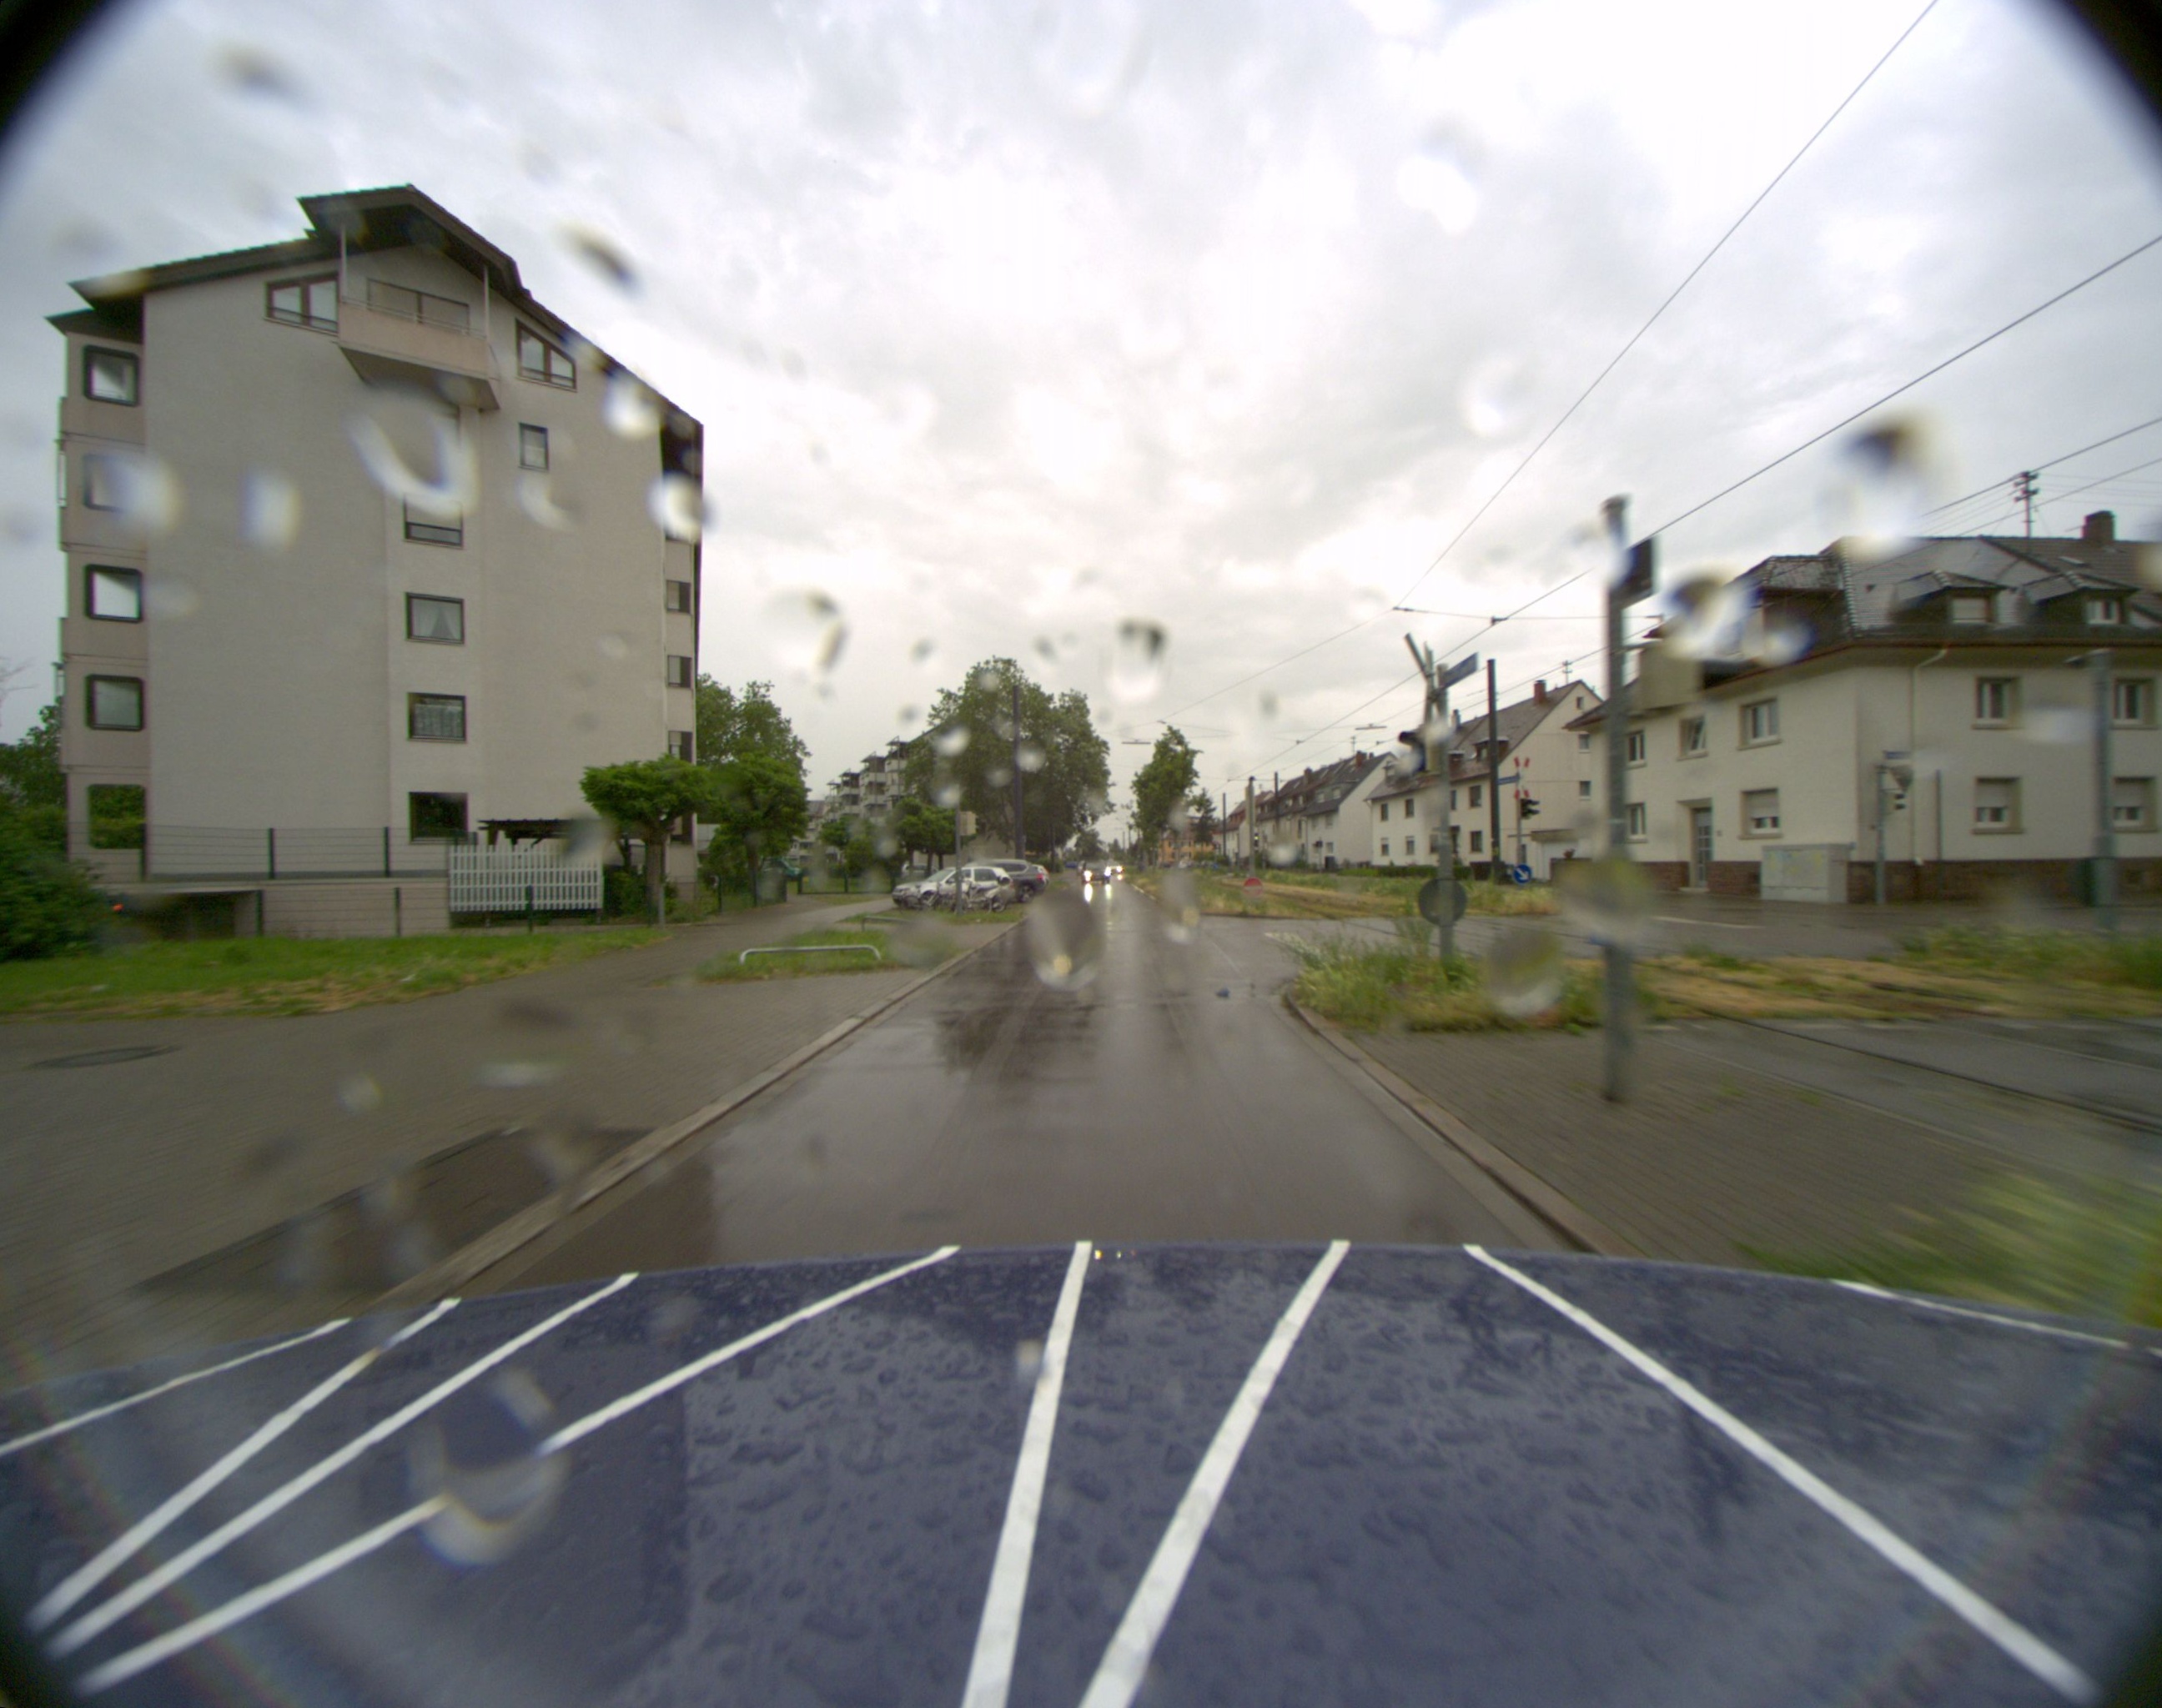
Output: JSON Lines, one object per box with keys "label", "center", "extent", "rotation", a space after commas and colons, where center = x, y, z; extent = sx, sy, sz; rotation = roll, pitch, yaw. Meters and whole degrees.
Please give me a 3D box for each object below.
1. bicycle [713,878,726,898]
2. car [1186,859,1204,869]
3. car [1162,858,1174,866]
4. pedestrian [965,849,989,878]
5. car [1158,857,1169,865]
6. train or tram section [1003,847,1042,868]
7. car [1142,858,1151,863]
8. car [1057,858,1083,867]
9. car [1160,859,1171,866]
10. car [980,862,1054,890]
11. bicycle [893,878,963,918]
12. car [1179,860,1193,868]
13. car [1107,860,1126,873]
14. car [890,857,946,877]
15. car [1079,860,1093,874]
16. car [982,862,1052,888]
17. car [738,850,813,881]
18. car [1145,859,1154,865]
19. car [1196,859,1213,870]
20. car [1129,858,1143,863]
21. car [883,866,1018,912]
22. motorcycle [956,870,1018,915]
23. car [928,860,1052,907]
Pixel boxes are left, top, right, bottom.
{"label": "bicycle", "center": [-16.578, 1.539, 34.821], "extent": [0.491, 0.843, 1.569], "rotation": [0, 0, -24]}
{"label": "car", "center": [17.777, 1.566, 118.647], "extent": [1.891, 1.522, 4.756], "rotation": [0, 0, -1]}
{"label": "car", "center": [18.030, 1.694, 157.543], "extent": [1.912, 1.581, 4.000], "rotation": [0, 0, 0]}
{"label": "pedestrian", "center": [-6.759, 0.612, 49.355], "extent": [1.101, 1.803, 1.435], "rotation": [-1, 0, 12]}
{"label": "car", "center": [18.547, 1.534, 171.127], "extent": [1.998, 1.648, 4.001], "rotation": [-2, 0, 2]}
{"label": "train or tram section", "center": [-9.231, 0.564, 119.114], "extent": [2.763, 3.320, 6.382], "rotation": [0, 0, -44]}
{"label": "car", "center": [17.643, 1.813, 204.103], "extent": [2.096, 1.423, 4.077], "rotation": [0, 0, -1]}
{"label": "car", "center": [-1.796, 1.394, 127.129], "extent": [4.007, 1.518, 1.715], "rotation": [0, 0, -32]}
{"label": "car", "center": [18.091, 1.755, 162.225], "extent": [1.881, 1.520, 4.000], "rotation": [0, 0, 0]}
{"label": "car", "center": [-3.735, 1.260, 44.489], "extent": [4.008, 1.499, 1.700], "rotation": [0, 2, -37]}
{"label": "bicycle", "center": [-4.458, 1.252, 22.240], "extent": [1.961, 1.095, 0.627], "rotation": [1, -1, -44]}
{"label": "car", "center": [17.912, 1.707, 129.830], "extent": [1.715, 1.431, 4.000], "rotation": [0, 0, -1]}
{"label": "car", "center": [4.008, 1.410, 86.614], "extent": [1.854, 1.500, 4.120], "rotation": [0, 0, -1]}
{"label": "car", "center": [-13.787, 1.078, 64.301], "extent": [4.303, 1.671, 1.872], "rotation": [0, 0, 3]}
{"label": "car", "center": [0.556, 1.411, 85.368], "extent": [1.562, 1.510, 4.000], "rotation": [0, 0, -1]}
{"label": "car", "center": [-4.017, 1.310, 47.631], "extent": [4.007, 1.499, 1.779], "rotation": [0, 2, -34]}
{"label": "car", "center": [-28.219, 1.100, 70.286], "extent": [6.132, 2.762, 2.188], "rotation": [-1, 0, 4]}
{"label": "car", "center": [17.510, 1.971, 195.377], "extent": [1.885, 1.423, 4.077], "rotation": [0, 0, -1]}
{"label": "car", "center": [17.202, 1.454, 105.836], "extent": [1.777, 1.417, 3.937], "rotation": [0, 0, 0]}
{"label": "car", "center": [16.081, 1.875, 222.808], "extent": [3.998, 1.637, 1.893], "rotation": [0, 0, -3]}
{"label": "car", "center": [-4.332, 1.128, 25.483], "extent": [4.133, 1.414, 1.734], "rotation": [1, -1, -34]}
{"label": "motorcycle", "center": [-2.903, 1.177, 23.490], "extent": [1.783, 1.328, 0.687], "rotation": [1, 0, -34]}
{"label": "car", "center": [-3.467, 1.083, 29.261], "extent": [4.357, 1.641, 1.853], "rotation": [0, 0, -31]}
